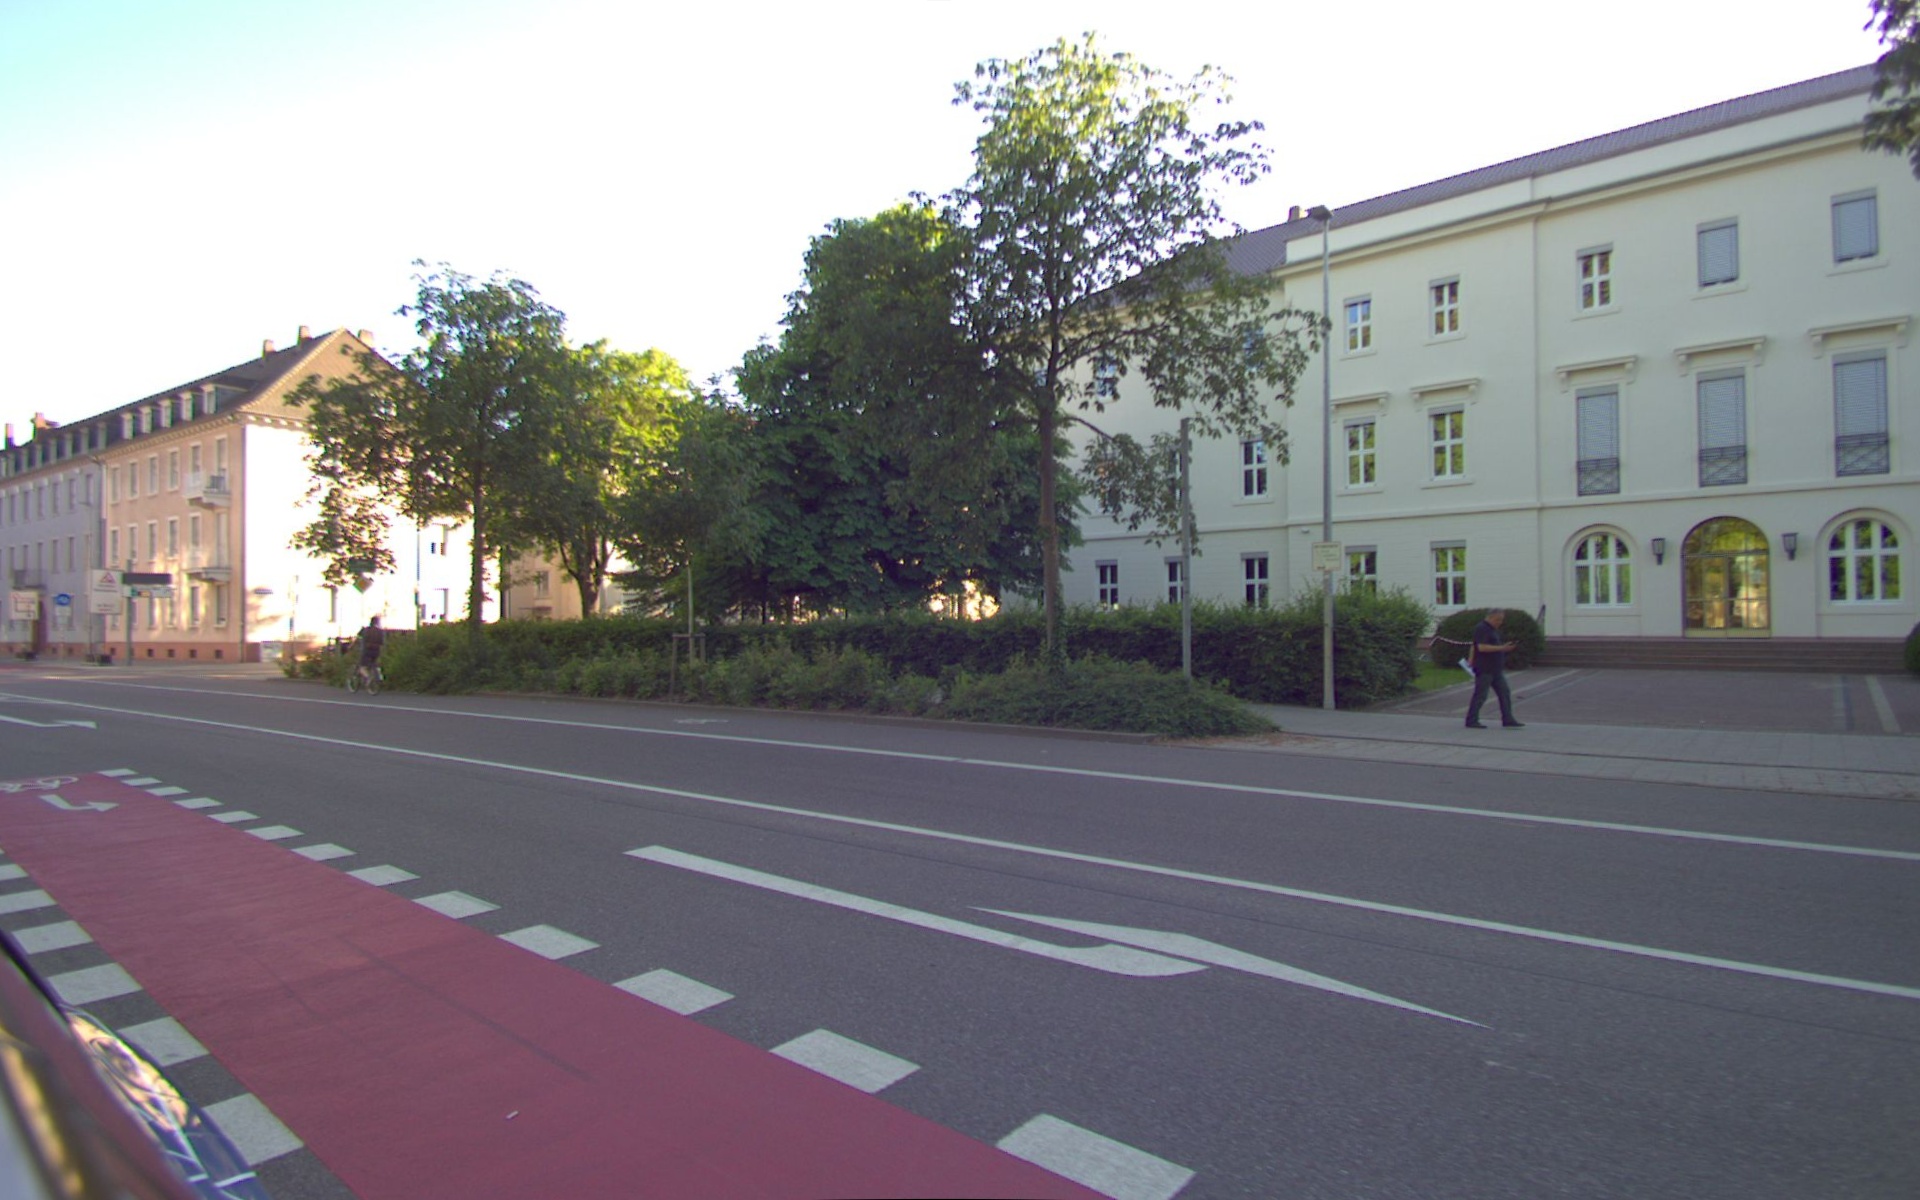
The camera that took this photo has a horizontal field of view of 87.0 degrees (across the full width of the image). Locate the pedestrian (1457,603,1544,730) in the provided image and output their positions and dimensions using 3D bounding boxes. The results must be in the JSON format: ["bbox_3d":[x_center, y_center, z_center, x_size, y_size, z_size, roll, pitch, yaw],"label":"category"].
[{"bbox_3d":[7.735,0.934,14.491,0.966,1.733,0.827,-2,-3,36],"label":"pedestrian"}]

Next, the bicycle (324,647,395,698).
[{"bbox_3d":[-14.434,1.713,24.303,2.242,1.168,0.688,-2,-3,38],"label":"bicycle"}]

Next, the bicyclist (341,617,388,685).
[{"bbox_3d":[-14.214,1.208,24.150,0.837,1.574,0.683,-2,-3,38],"label":"bicyclist"}]

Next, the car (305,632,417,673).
[{"bbox_3d":[-27.566,2.389,46.675,1.993,1.674,3.957,-1,0,31],"label":"car"}]
